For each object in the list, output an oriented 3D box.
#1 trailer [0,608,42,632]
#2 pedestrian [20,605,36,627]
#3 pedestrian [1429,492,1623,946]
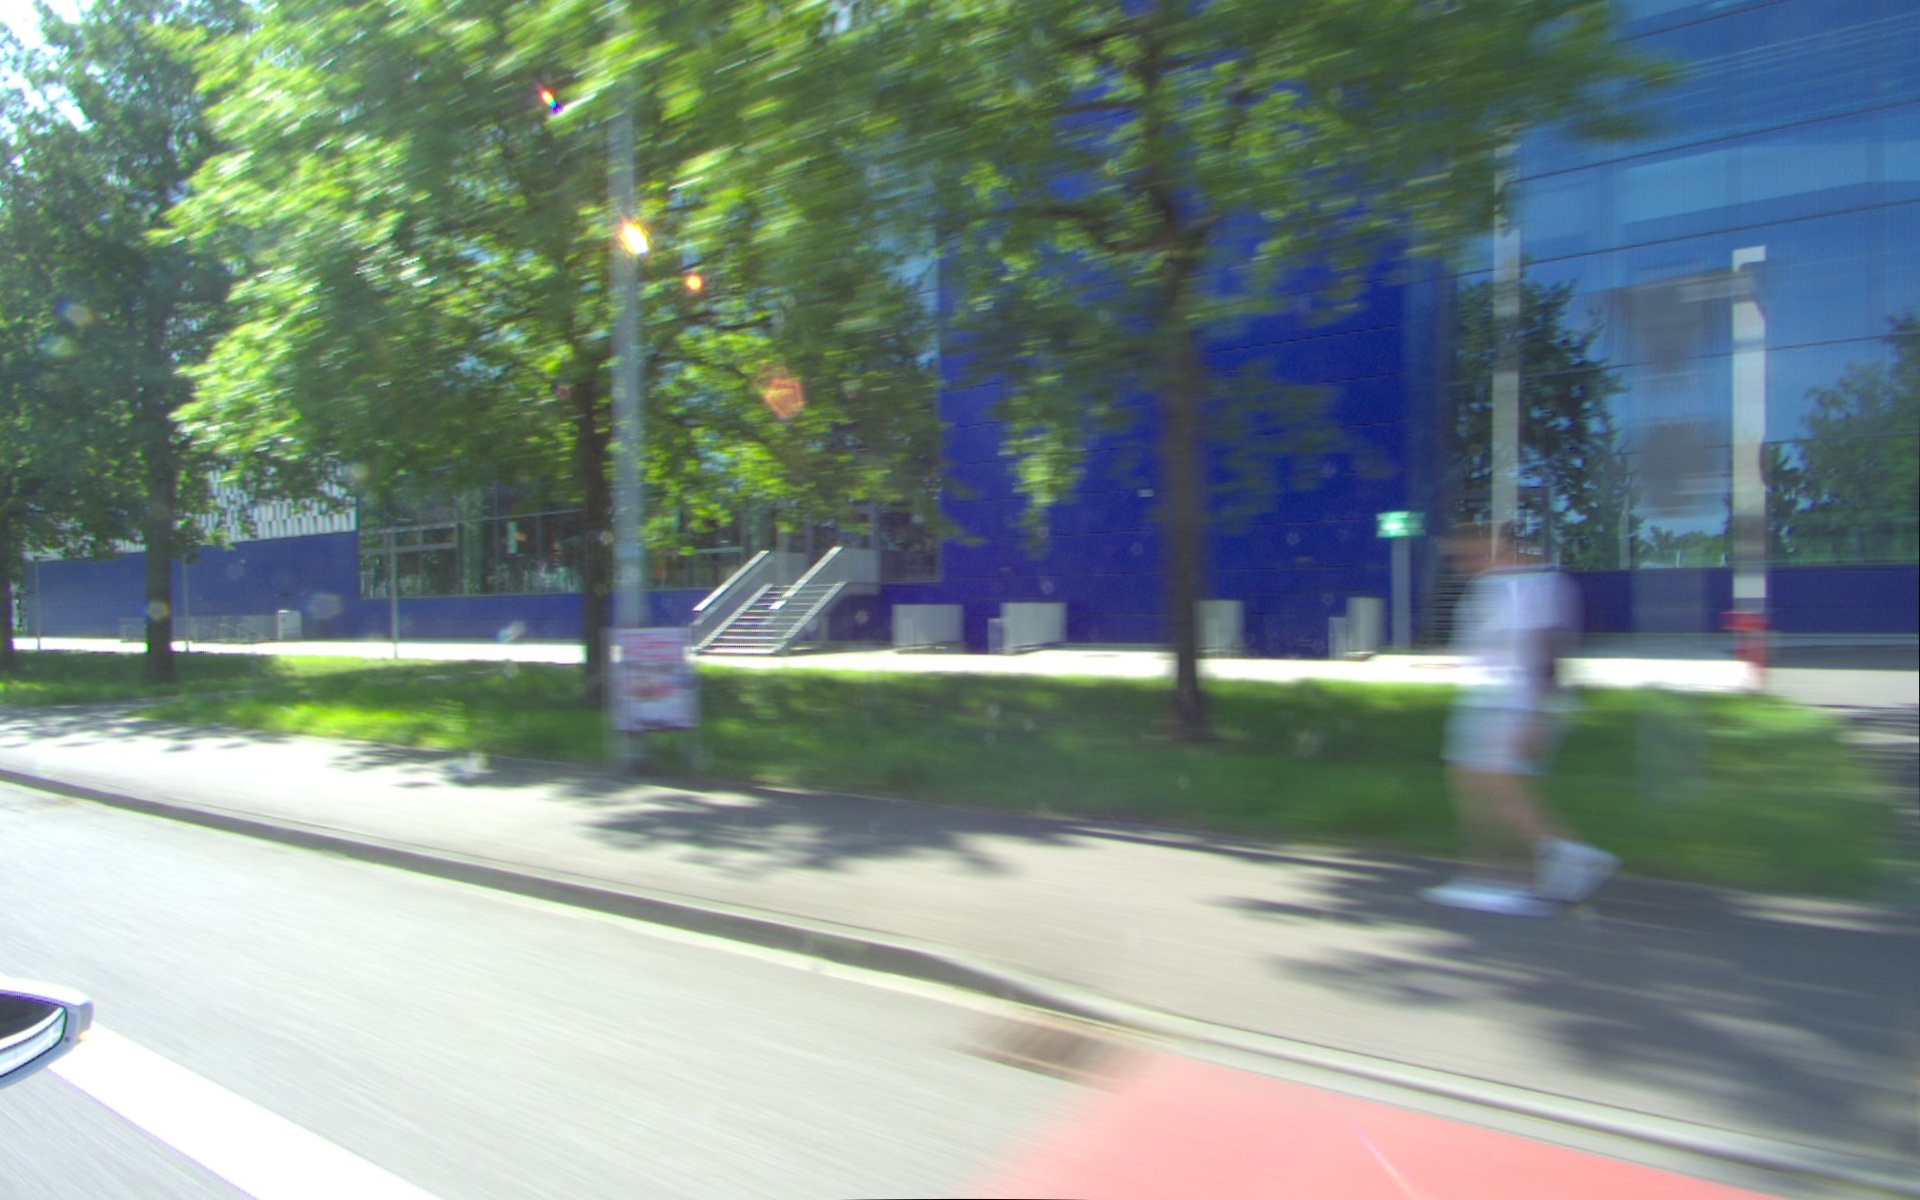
[{"bbox_3d":[-105.718,2.018,106.455,1.970,2.501,11.857,1,-2,31],"label":"trailer"},{"bbox_3d":[-76.136,1.296,81.806,0.791,1.793,0.627,-1,1,21],"label":"pedestrian"},{"bbox_3d":[2.554,0.495,4.527,0.717,1.866,0.534,0,1,32],"label":"pedestrian"}]
